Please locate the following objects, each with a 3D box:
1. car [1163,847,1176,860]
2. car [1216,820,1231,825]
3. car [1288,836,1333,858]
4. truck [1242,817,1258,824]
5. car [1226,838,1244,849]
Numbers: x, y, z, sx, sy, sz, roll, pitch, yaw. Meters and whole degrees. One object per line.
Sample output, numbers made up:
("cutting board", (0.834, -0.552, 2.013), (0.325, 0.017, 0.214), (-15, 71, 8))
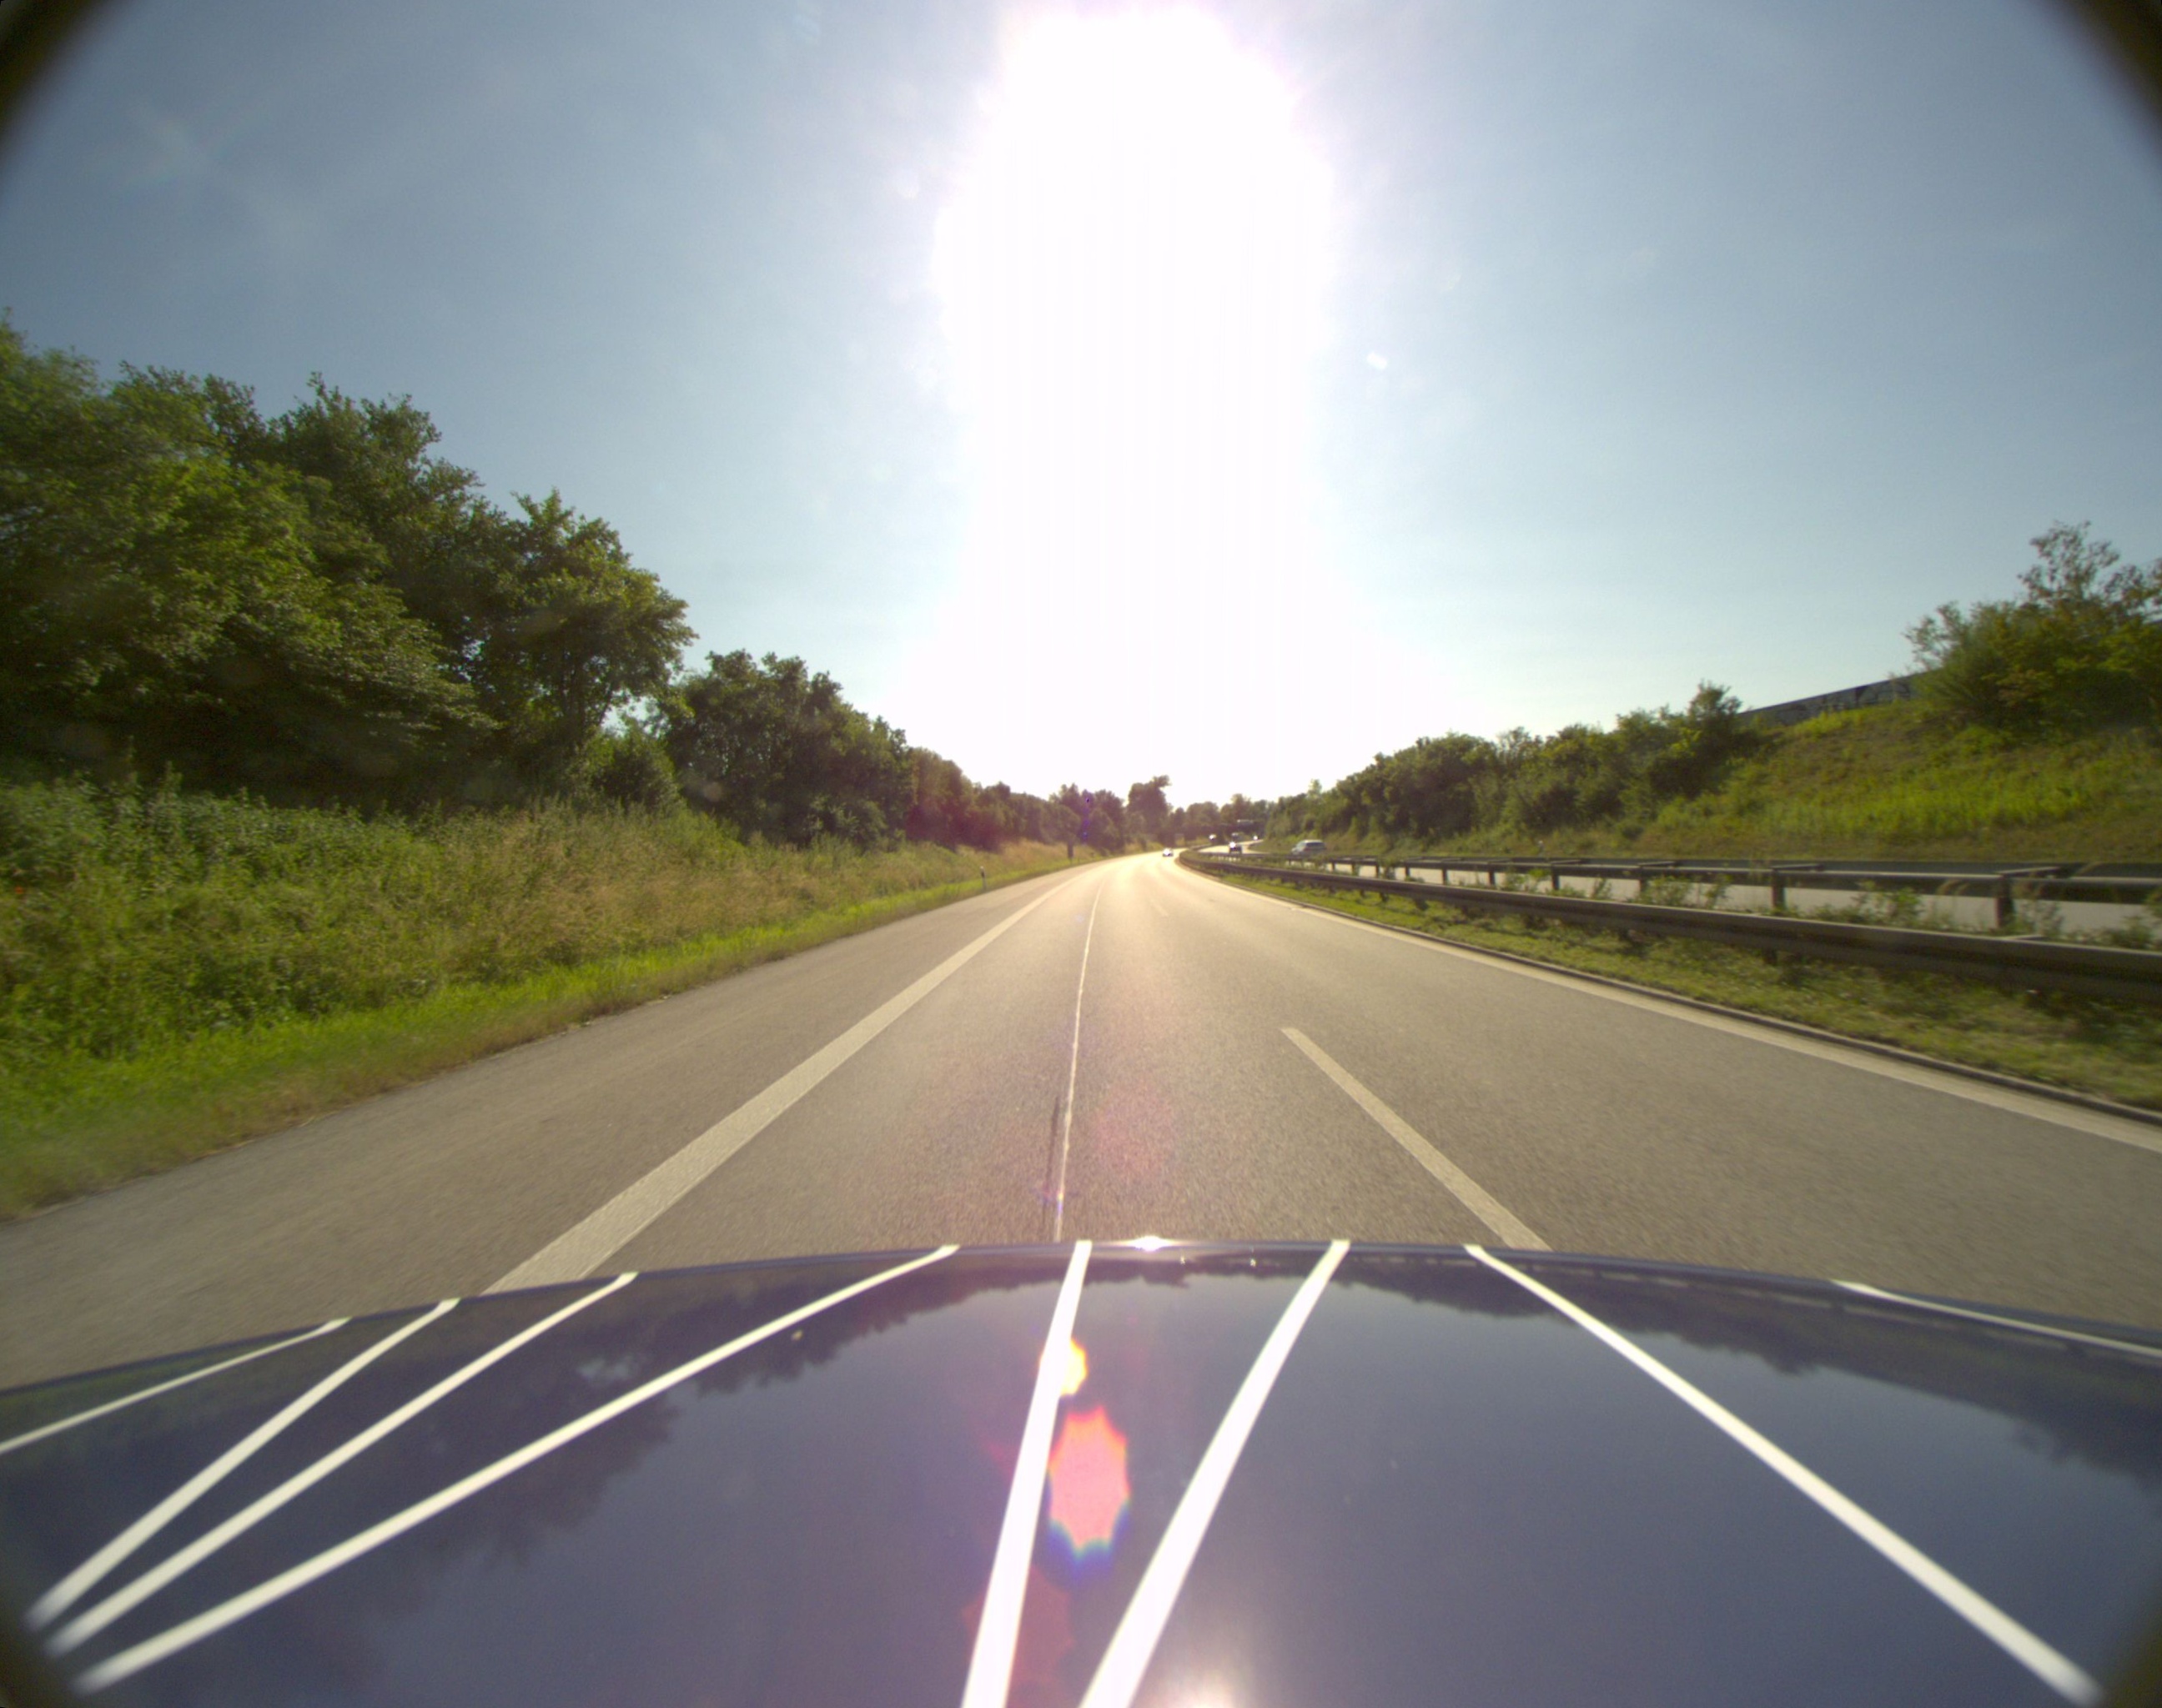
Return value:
("car", (15.316, -0.109, 131.991), (1.998, 2.002, 4.601), (-5, 0, 6))
("car", (46.779, -10.366, 249.527), (4.434, 1.547, 1.908), (-2, 3, 16))
("car", (15.910, -0.486, 52.838), (1.904, 1.414, 4.398), (-1, 0, 2))
("truck", (54.908, -10.924, 247.300), (4.863, 2.155, 2.001), (-2, 3, 16))
("car", (23.452, -1.610, 115.707), (1.971, 1.555, 5.174), (-1, 1, 4))
